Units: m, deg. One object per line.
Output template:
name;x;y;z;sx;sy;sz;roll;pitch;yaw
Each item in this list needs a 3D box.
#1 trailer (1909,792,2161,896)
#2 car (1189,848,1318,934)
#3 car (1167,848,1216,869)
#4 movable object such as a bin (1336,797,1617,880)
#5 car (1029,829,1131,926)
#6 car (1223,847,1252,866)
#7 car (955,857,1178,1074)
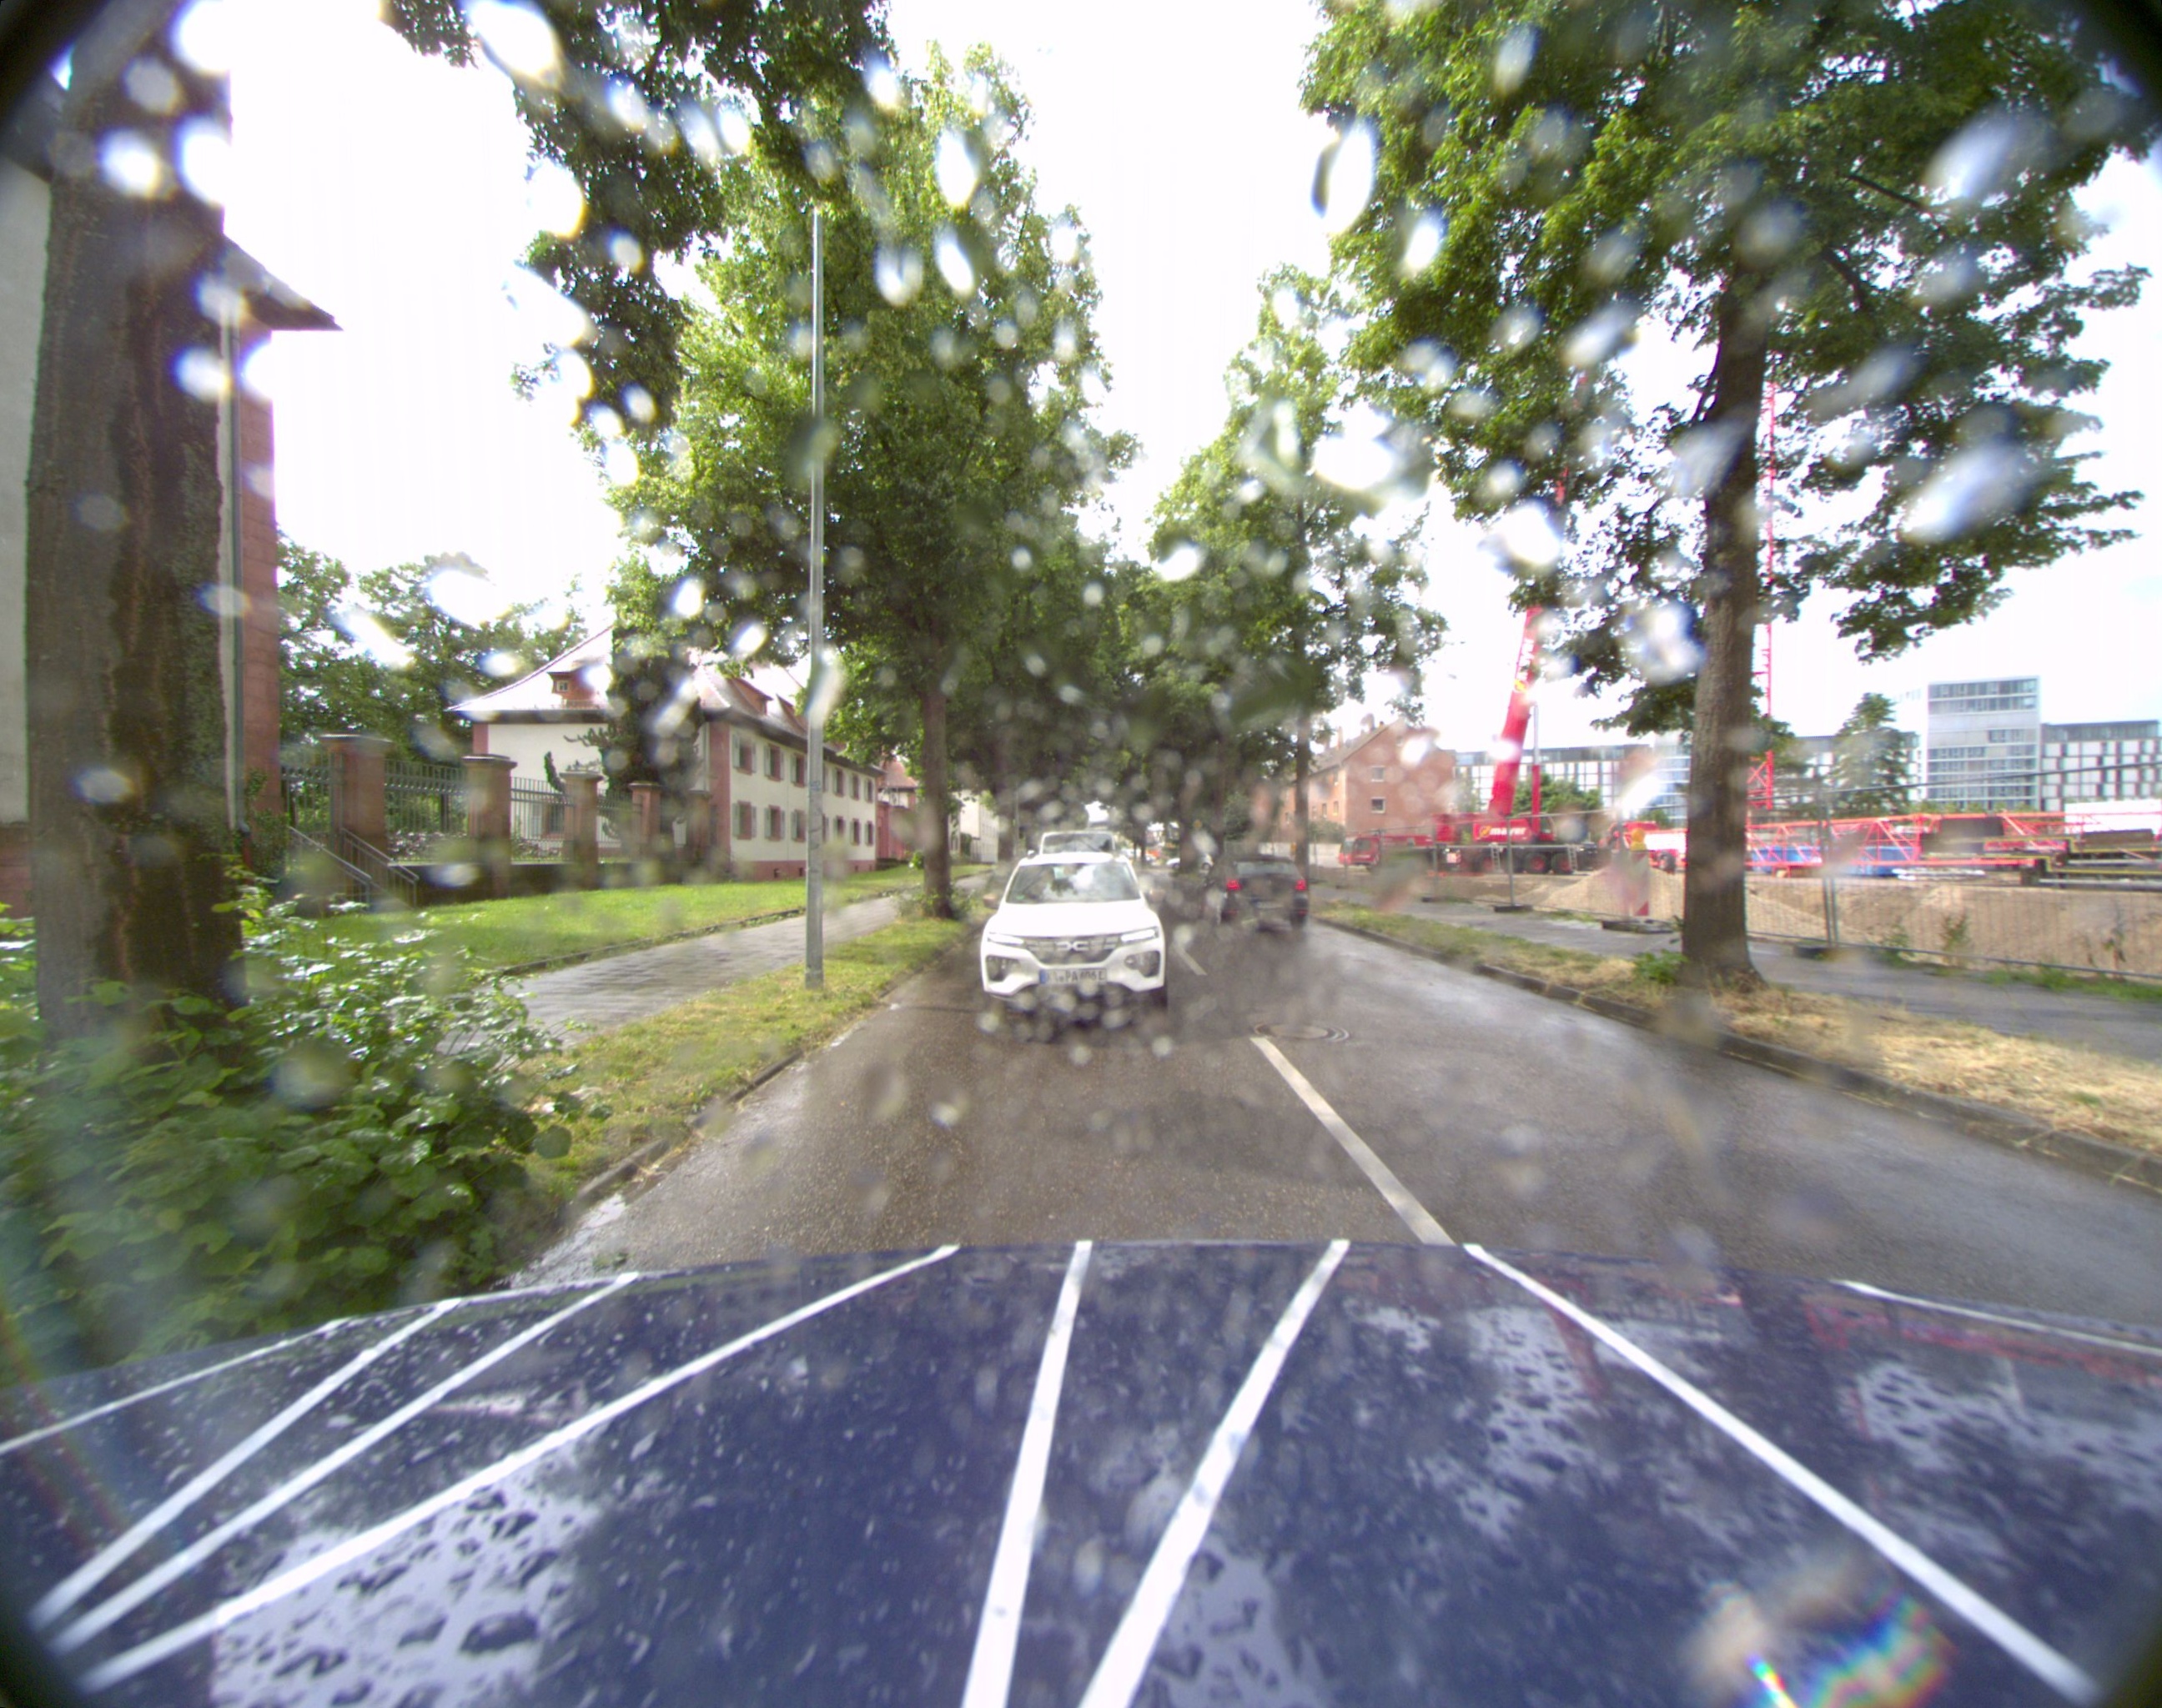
trailer;35.752;-0.379;24.283;2.968;3.214;14.307;-4;1;0
car;3.418;0.669;15.796;1.818;1.531;3.982;-1;0;1
car;9.092;0.398;62.979;3.868;1.543;1.698;-2;1;4
movable object such as a bin;24.890;-0.962;48.529;15.941;4.532;3.101;-2;2;4
car;-0.077;0.453;18.856;2.107;1.990;5.432;-2;1;-1
car;13.909;0.179;67.680;1.693;1.521;3.998;-2;1;-1
car;-0.069;0.840;7.631;1.608;1.499;4.000;-2;1;1
